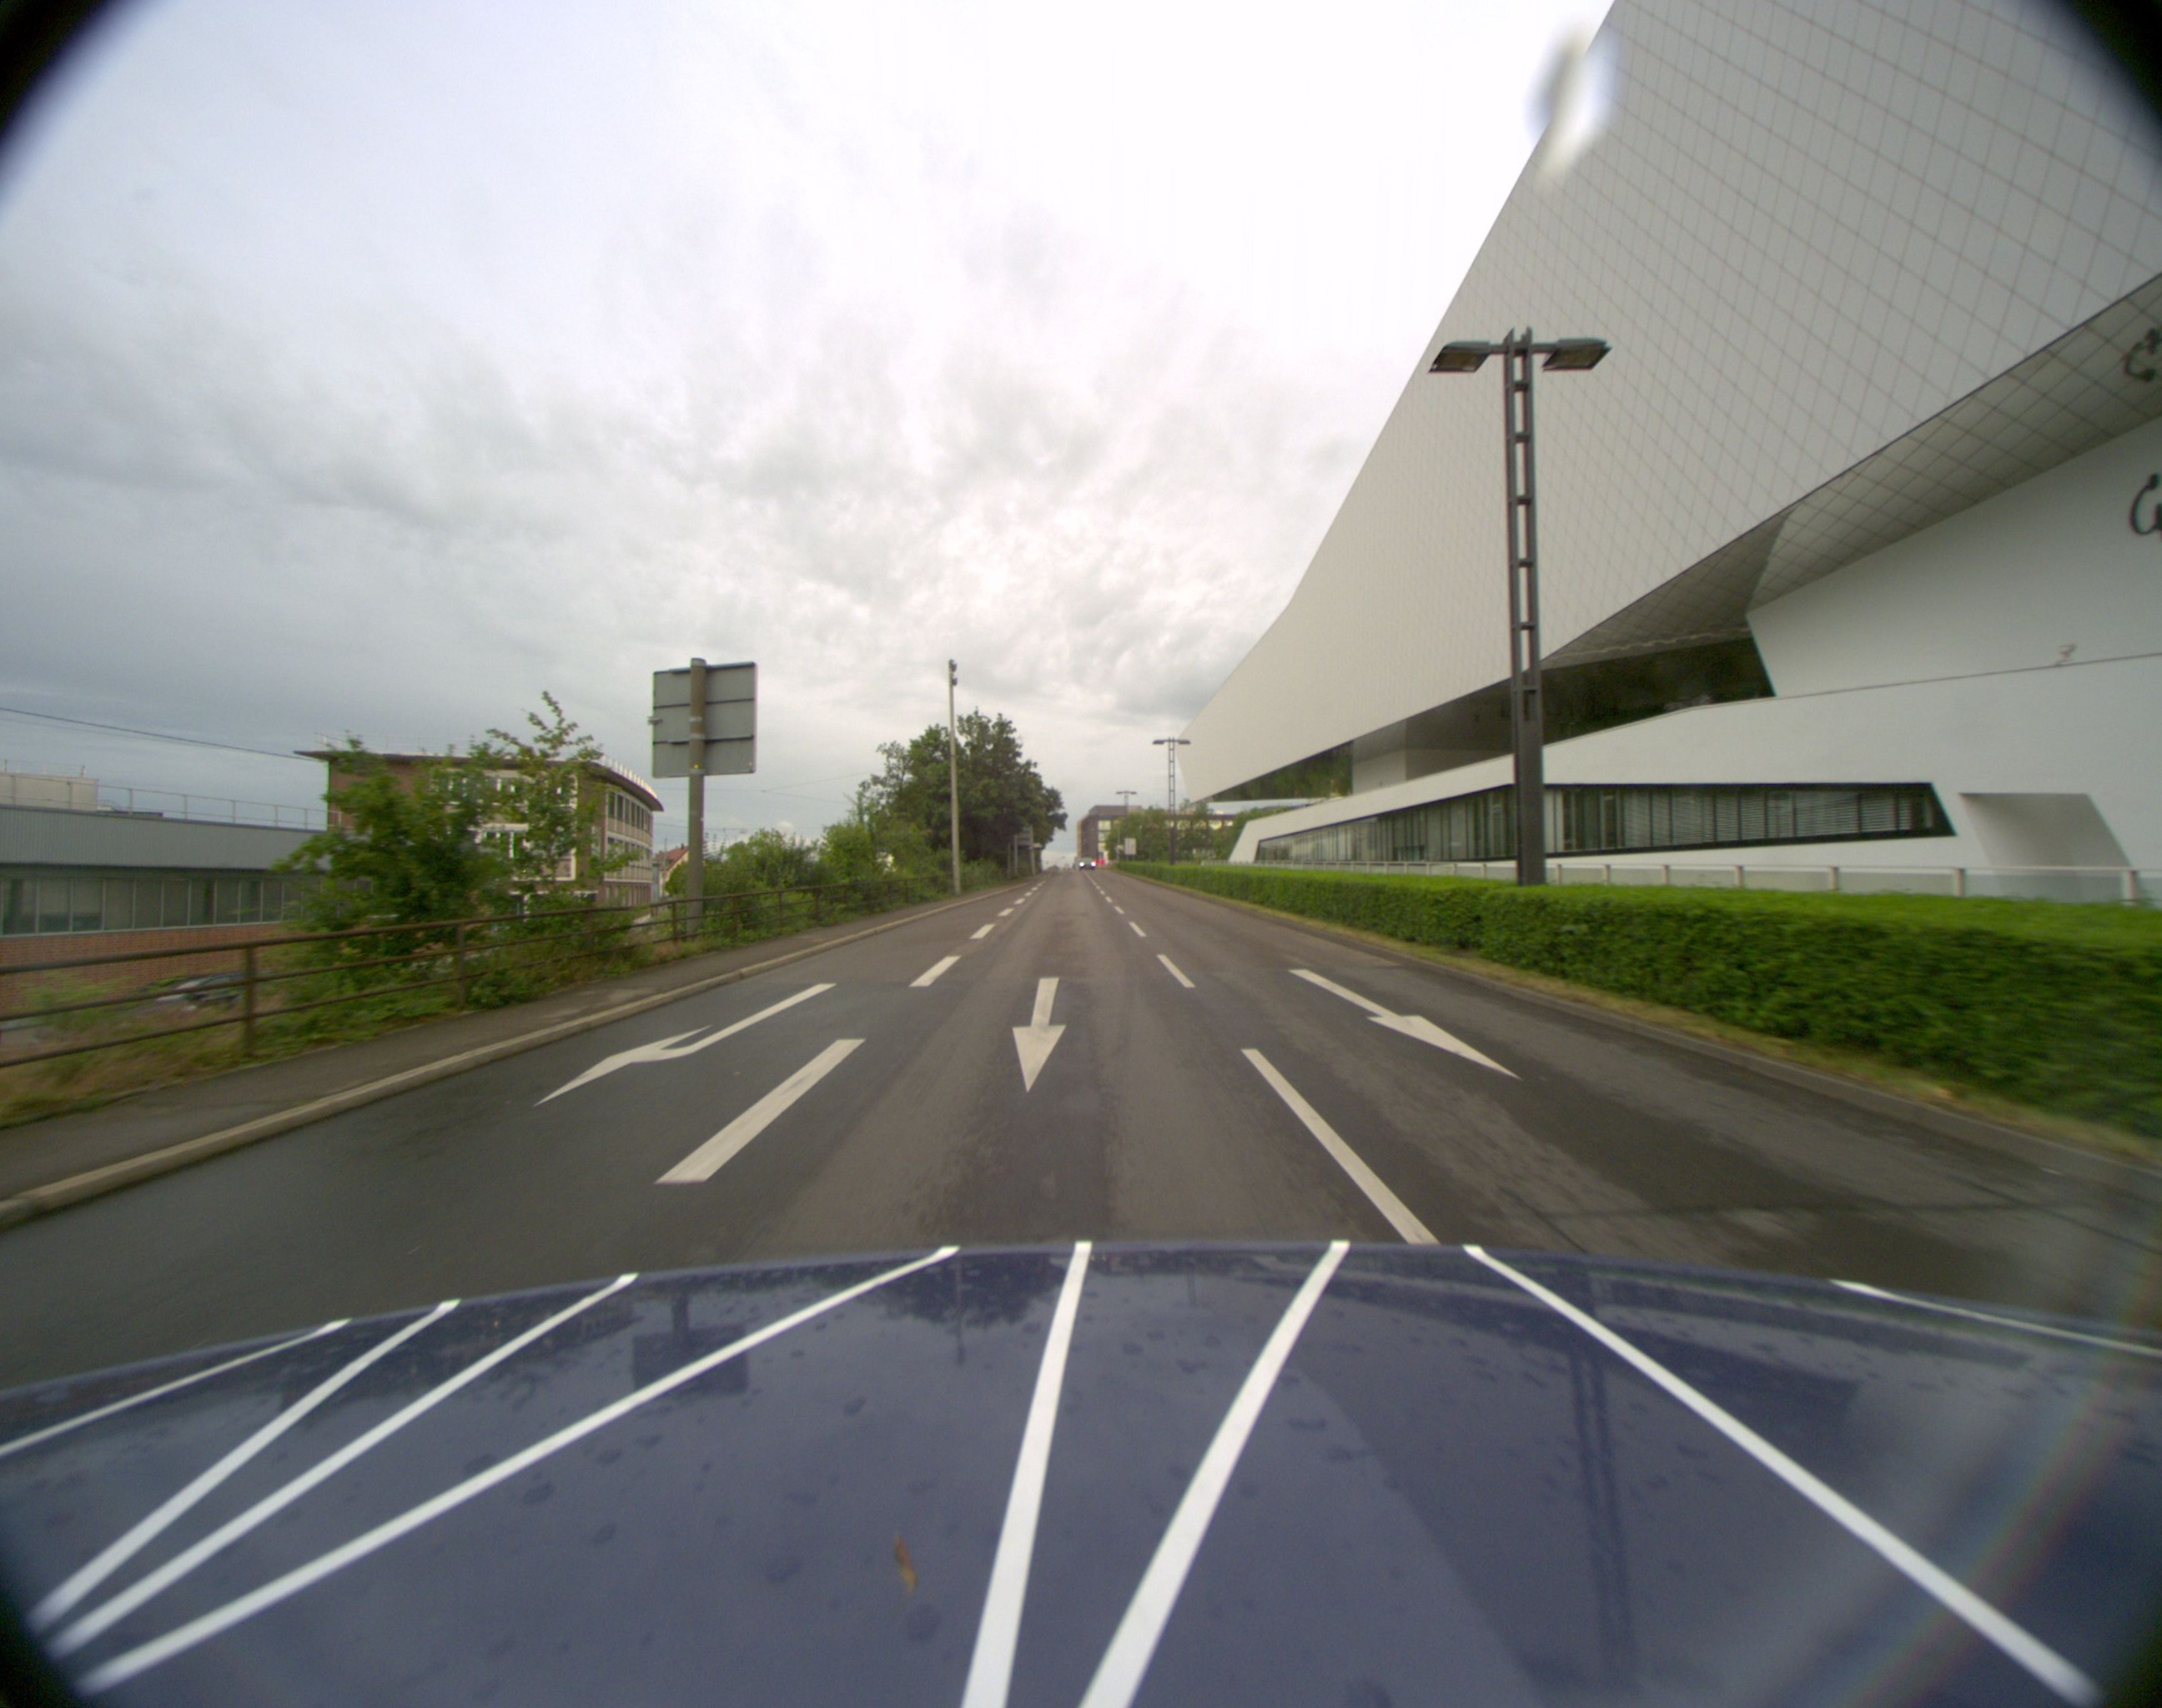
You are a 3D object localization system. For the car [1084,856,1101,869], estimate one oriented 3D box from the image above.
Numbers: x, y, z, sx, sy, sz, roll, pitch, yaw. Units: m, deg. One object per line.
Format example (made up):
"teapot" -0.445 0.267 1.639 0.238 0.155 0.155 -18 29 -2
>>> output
"car" 1.397 1.028 95.069 1.841 1.574 4.288 -1 0 -3

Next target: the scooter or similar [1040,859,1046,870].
"scooter or similar" -4.242 1.148 84.593 0.574 1.201 1.467 -1 0 -1

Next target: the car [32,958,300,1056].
"car" -21.324 3.501 17.992 1.702 1.545 3.857 -1 -1 -1
